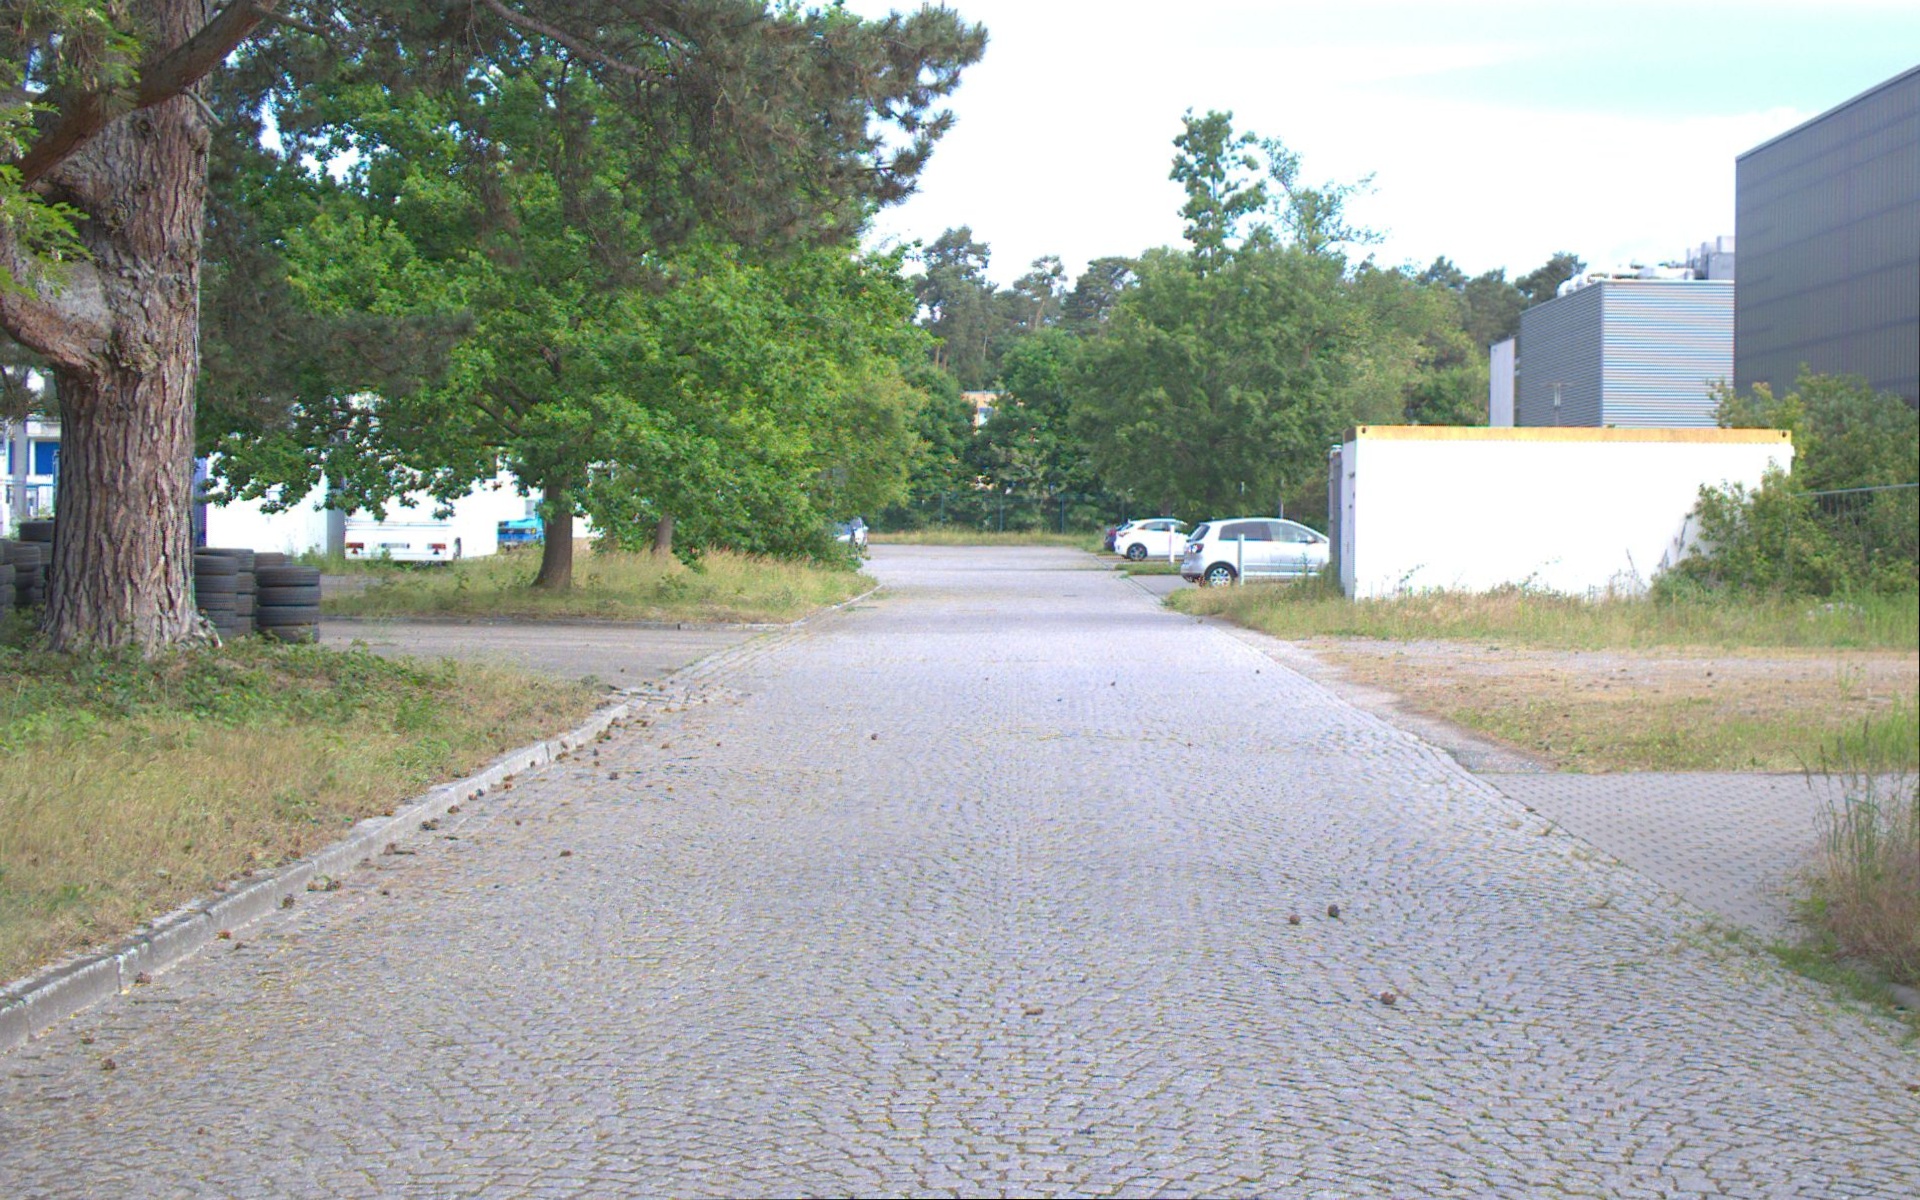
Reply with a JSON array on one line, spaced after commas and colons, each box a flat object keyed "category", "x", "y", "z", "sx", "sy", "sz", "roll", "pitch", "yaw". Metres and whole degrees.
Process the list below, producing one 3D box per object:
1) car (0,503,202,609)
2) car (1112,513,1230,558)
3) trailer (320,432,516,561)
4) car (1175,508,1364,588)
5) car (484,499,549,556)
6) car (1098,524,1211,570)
[{"category": "car", "x": -12.327, "y": -0.642, "z": 49.359, "sx": 1.767, "sy": 1.448, "sz": 3.487, "roll": 1, "pitch": 1, "yaw": 6}, {"category": "car", "x": 7.349, "y": -2.253, "z": 119.909, "sx": 4.025, "sy": 1.496, "sz": 1.548, "roll": 1, "pitch": 1, "yaw": 2}, {"category": "trailer", "x": -13.562, "y": -2.592, "z": 86.812, "sx": 3.159, "sy": 3.057, "sz": 8.784, "roll": 1, "pitch": 1, "yaw": 3}, {"category": "car", "x": 6.619, "y": -1.123, "z": 73.773, "sx": 3.849, "sy": 1.649, "sz": 1.686, "roll": 1, "pitch": 1, "yaw": -2}, {"category": "car", "x": -16.418, "y": -2.678, "z": 127.511, "sx": 1.925, "sy": 2.040, "sz": 4.601, "roll": 1, "pitch": 1, "yaw": -2}, {"category": "car", "x": 7.081, "y": -1.937, "z": 125.477, "sx": 3.986, "sy": 1.596, "sz": 1.729, "roll": 1, "pitch": 1, "yaw": -2}]
